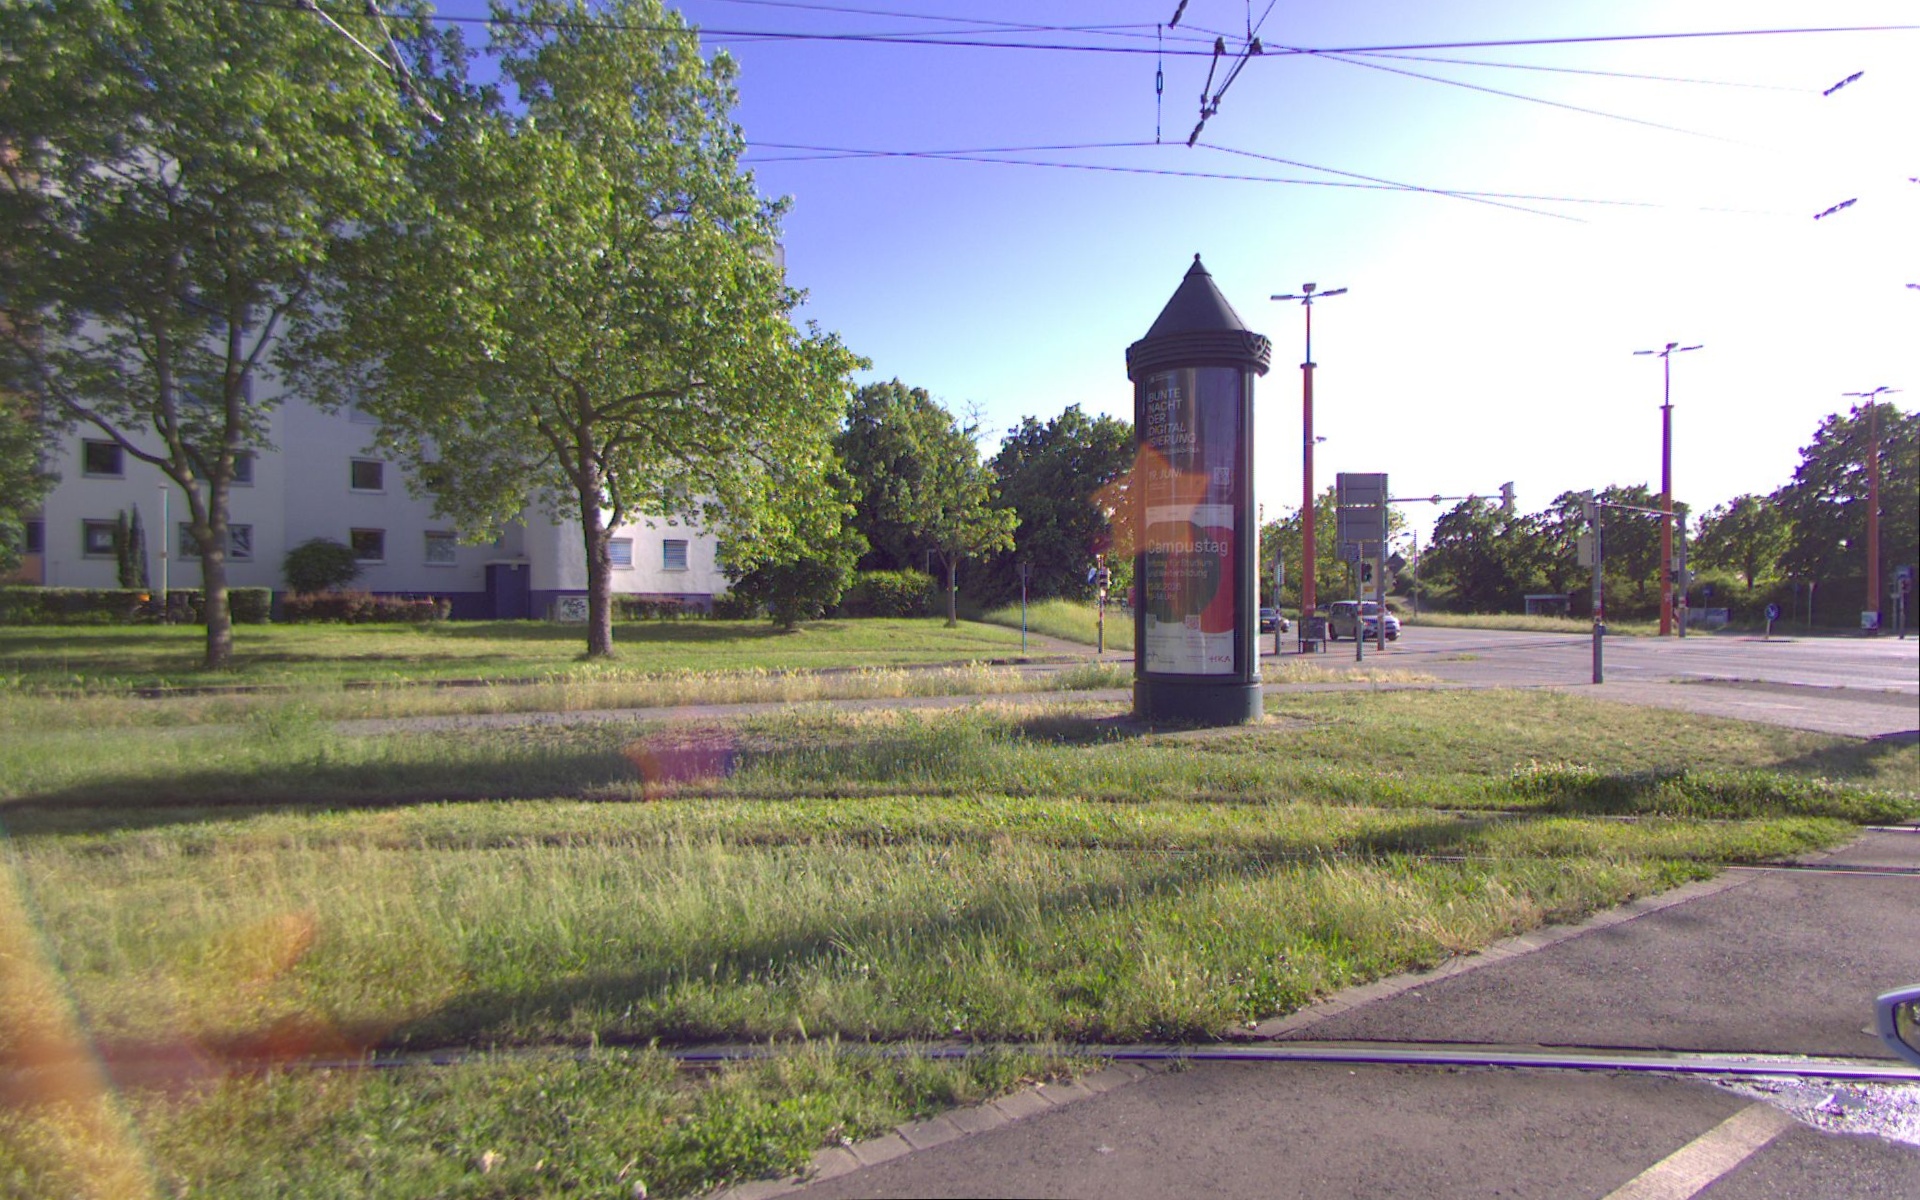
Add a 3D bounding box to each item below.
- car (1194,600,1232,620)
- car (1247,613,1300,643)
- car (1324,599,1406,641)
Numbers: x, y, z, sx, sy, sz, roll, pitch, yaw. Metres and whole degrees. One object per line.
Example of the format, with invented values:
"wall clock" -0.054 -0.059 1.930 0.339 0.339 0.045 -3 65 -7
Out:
"car" 21.446 0.838 85.307 1.867 1.632 4.564 -2 0 -2
"car" 17.736 1.559 57.041 1.866 1.494 4.567 -2 0 4
"car" 18.675 0.875 46.507 1.867 1.799 4.445 -2 0 -2
